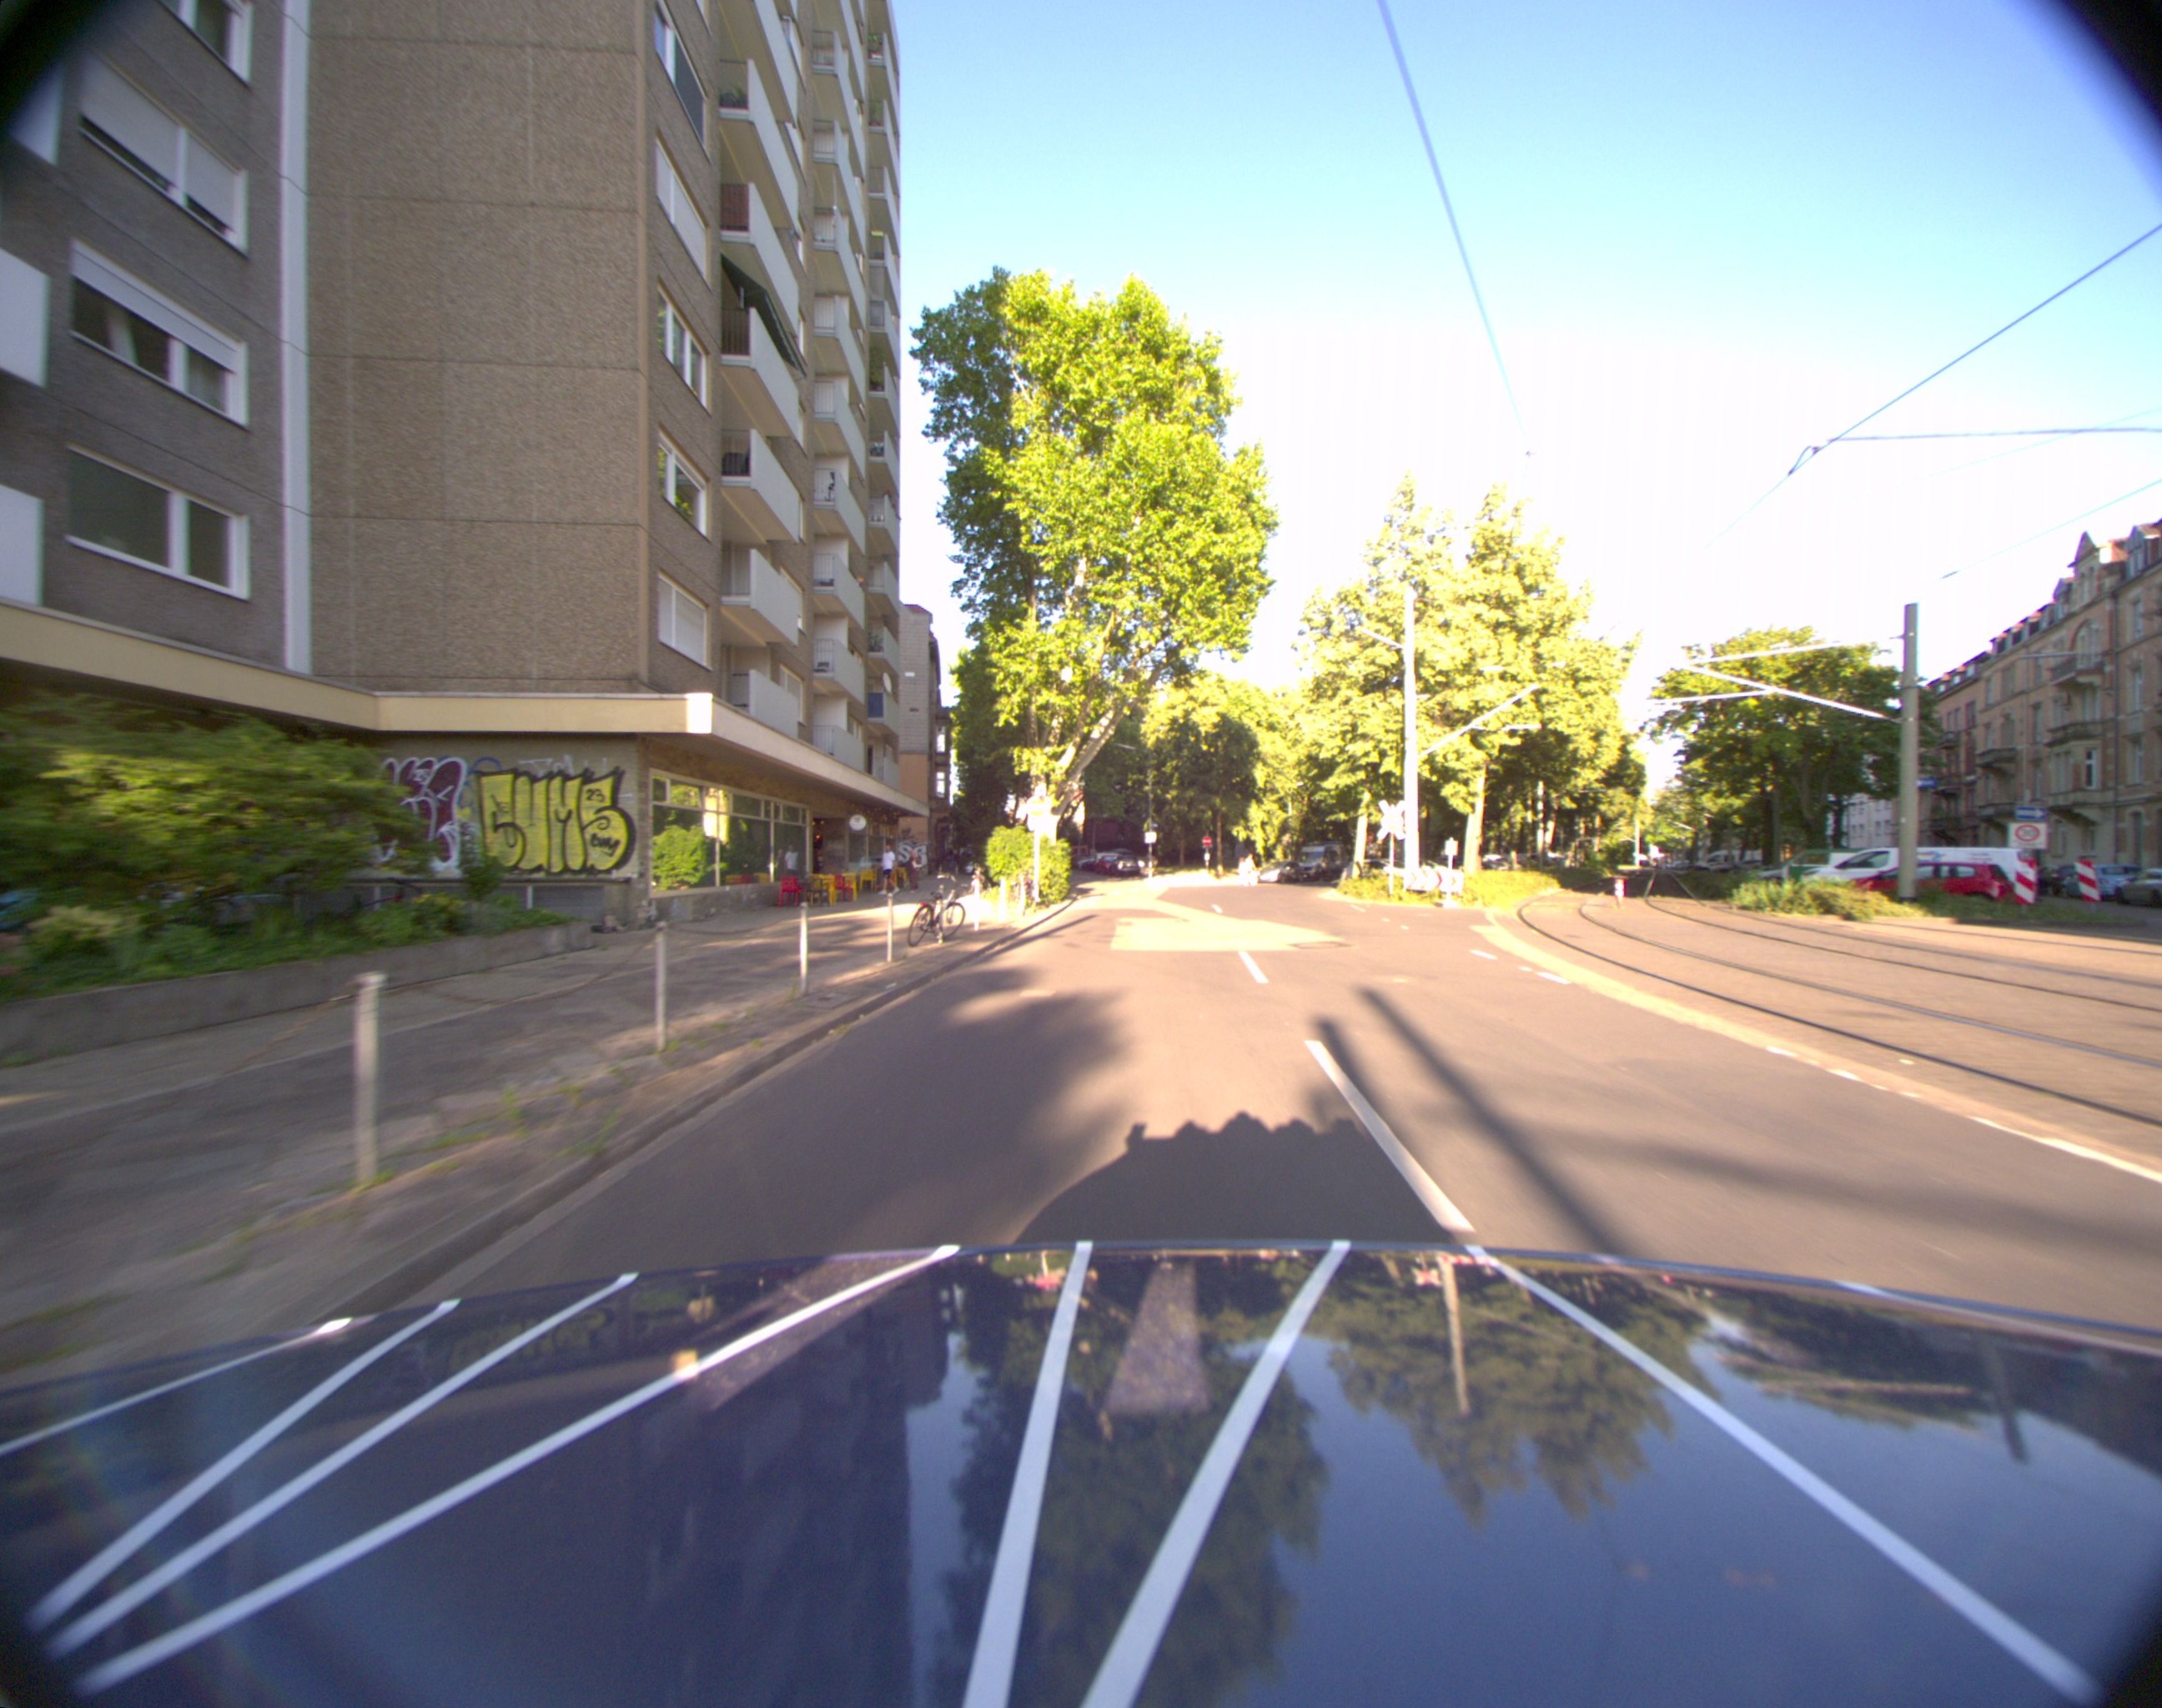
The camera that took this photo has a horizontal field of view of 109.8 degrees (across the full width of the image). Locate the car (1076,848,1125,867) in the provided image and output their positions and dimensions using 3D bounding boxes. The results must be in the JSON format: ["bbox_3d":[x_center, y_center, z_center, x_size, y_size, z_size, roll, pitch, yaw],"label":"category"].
[{"bbox_3d":[1.855,0.308,72.209,4.400,1.484,1.785,-3,1,-6],"label":"car"}]

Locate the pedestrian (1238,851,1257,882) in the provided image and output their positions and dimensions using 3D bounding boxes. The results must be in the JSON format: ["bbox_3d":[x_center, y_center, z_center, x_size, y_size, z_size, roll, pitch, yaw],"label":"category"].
[{"bbox_3d":[9.646,0.708,44.147,0.812,1.771,0.718,1,1,43],"label":"pedestrian"}]

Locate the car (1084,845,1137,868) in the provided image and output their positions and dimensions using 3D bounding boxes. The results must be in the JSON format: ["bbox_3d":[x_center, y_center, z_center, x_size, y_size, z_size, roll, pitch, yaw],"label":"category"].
[{"bbox_3d":[2.609,0.227,67.080,4.400,1.766,1.785,-3,1,-6],"label":"car"}]

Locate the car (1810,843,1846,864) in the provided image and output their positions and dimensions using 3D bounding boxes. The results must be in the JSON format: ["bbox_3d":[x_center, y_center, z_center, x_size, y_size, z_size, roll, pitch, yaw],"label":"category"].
[{"bbox_3d":[75.911,-0.061,77.259,1.994,2.002,4.008,0,1,36],"label":"car"}]

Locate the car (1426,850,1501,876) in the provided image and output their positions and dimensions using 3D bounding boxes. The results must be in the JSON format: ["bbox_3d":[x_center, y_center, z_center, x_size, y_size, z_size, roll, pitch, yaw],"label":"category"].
[{"bbox_3d":[26.584,0.647,52.938,1.943,1.616,4.351,-2,-2,-23],"label":"car"}]

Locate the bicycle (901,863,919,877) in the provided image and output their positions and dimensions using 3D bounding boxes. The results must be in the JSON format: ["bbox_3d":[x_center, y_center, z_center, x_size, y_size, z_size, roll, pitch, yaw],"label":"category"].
[{"bbox_3d":[-9.104,0.830,40.471,0.895,0.737,0.272,0,1,-12],"label":"bicycle"}]

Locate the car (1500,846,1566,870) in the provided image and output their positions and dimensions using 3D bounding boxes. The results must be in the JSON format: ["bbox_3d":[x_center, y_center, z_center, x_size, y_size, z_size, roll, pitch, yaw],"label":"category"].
[{"bbox_3d":[45.451,0.431,76.509,2.083,2.124,5.506,-2,-2,-22],"label":"car"}]

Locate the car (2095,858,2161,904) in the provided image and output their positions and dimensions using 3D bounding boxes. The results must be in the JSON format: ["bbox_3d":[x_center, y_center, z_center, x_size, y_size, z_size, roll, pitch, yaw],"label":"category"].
[{"bbox_3d":[38.136,0.910,26.593,1.851,1.532,4.782,0,0,36],"label":"car"}]

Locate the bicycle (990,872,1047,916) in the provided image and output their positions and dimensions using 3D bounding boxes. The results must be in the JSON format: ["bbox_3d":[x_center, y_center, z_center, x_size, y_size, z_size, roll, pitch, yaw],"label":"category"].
[{"bbox_3d":[-1.581,1.009,19.631,0.639,1.016,2.091,1,0,21],"label":"bicycle"}]

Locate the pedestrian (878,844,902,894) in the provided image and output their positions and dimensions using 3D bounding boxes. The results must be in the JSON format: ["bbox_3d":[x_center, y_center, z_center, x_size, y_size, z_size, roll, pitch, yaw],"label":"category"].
[{"bbox_3d":[-6.885,0.530,27.383,0.686,1.763,0.636,0,1,0],"label":"pedestrian"}]

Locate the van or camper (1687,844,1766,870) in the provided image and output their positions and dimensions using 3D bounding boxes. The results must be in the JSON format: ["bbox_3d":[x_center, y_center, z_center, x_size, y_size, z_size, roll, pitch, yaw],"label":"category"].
[{"bbox_3d":[65.174,0.271,76.824,2.003,2.454,5.663,1,1,-28],"label":"van or camper"}]

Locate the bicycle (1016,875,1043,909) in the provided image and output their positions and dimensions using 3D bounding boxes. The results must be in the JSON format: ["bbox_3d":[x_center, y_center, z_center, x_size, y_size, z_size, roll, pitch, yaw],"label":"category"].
[{"bbox_3d":[-1.460,1.064,21.720,0.543,0.899,1.736,0,0,4],"label":"bicycle"}]

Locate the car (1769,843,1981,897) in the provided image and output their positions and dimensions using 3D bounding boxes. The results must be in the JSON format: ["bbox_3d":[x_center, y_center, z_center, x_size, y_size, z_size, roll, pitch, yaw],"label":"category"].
[{"bbox_3d":[28.323,0.522,27.349,2.088,1.754,4.826,0,0,-24],"label":"car"}]

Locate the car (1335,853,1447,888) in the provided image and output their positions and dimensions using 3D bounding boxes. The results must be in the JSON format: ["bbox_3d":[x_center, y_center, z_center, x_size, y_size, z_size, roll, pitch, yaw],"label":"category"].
[{"bbox_3d":[13.544,0.718,33.408,1.778,1.421,4.283,-1,0,-35],"label":"car"}]

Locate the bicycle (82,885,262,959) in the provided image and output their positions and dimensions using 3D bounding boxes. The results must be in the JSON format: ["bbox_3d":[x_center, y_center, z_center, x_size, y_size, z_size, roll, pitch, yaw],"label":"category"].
[{"bbox_3d":[-12.863,0.932,10.836,0.644,0.894,1.651,0,0,-4],"label":"bicycle"}]

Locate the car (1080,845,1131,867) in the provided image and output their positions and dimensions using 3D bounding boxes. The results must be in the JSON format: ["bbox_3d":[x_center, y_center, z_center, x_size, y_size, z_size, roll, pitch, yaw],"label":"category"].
[{"bbox_3d":[2.249,0.203,69.899,4.400,1.766,1.785,-3,1,-6],"label":"car"}]

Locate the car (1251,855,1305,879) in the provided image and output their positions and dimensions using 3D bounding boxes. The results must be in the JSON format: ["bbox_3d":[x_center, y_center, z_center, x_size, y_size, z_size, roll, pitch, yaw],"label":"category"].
[{"bbox_3d":[12.706,0.841,48.911,1.681,1.437,3.880,-3,-2,42],"label":"car"}]

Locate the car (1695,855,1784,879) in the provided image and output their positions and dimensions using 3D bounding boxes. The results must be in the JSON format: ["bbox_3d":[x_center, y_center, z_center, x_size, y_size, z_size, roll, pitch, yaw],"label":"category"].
[{"bbox_3d":[40.129,0.763,46.381,1.710,1.373,3.730,0,0,-26],"label":"car"}]

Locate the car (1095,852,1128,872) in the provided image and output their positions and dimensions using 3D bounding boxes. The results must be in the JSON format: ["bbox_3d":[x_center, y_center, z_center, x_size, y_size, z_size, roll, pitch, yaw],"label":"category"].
[{"bbox_3d":[2.382,0.594,59.831,1.744,1.441,4.641,-2,1,-8],"label":"car"}]

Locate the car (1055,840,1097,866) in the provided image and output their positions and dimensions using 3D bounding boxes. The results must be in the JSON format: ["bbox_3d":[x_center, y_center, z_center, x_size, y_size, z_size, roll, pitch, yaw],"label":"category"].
[{"bbox_3d":[-0.622,-0.170,87.232,4.642,2.950,1.605,0,1,-12],"label":"car"}]

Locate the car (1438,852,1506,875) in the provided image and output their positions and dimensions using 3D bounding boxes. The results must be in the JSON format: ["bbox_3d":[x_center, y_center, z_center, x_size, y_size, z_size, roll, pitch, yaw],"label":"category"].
[{"bbox_3d":[28.348,0.711,55.238,1.773,1.450,4.154,-2,-2,-23],"label":"car"}]

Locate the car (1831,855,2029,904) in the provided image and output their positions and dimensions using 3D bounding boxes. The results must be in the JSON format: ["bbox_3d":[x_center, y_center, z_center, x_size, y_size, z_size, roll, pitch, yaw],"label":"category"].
[{"bbox_3d":[25.110,0.702,22.601,1.719,1.321,3.625,0,0,-29],"label":"car"}]

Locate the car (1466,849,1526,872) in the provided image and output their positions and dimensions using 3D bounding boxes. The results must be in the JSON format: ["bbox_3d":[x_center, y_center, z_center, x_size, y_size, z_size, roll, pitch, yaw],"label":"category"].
[{"bbox_3d":[33.989,0.565,62.363,1.885,1.770,4.157,-2,-2,-14],"label":"car"}]

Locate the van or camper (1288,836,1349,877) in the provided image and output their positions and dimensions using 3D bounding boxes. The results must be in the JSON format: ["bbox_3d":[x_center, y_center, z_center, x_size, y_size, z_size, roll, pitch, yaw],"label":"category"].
[{"bbox_3d":[16.866,0.183,53.766,2.085,2.746,5.858,0,0,39],"label":"van or camper"}]

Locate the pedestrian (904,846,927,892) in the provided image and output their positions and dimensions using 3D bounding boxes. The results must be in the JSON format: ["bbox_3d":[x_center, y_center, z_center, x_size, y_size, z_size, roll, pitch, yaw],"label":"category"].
[{"bbox_3d":[-6.156,0.564,28.258,0.686,1.682,0.644,0,1,0],"label":"pedestrian"}]

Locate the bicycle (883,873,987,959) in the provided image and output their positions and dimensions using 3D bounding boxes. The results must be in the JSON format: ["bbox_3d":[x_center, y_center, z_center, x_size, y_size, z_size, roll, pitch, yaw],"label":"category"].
[{"bbox_3d":[-2.312,0.946,12.325,0.639,1.219,2.091,1,0,21],"label":"bicycle"}]

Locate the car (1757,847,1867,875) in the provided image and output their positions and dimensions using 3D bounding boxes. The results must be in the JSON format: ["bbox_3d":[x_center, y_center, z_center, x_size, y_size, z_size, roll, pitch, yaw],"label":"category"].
[{"bbox_3d":[37.910,0.337,39.499,1.730,1.373,3.730,0,0,-27],"label":"car"}]

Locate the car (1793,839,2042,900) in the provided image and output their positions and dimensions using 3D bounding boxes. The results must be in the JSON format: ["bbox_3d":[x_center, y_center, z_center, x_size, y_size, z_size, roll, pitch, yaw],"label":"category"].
[{"bbox_3d":[26.656,0.444,24.461,2.088,1.754,5.047,0,0,-30],"label":"car"}]

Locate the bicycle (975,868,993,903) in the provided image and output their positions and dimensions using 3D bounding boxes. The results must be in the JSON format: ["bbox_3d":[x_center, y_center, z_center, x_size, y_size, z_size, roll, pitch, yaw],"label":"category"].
[{"bbox_3d":[-2.988,0.951,23.547,0.349,1.032,1.053,1,0,4],"label":"bicycle"}]

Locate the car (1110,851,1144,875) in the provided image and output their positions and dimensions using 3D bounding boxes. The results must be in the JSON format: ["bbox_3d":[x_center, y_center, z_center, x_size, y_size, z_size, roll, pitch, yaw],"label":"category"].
[{"bbox_3d":[3.264,0.585,54.457,1.742,1.543,4.274,-3,1,-5],"label":"car"}]

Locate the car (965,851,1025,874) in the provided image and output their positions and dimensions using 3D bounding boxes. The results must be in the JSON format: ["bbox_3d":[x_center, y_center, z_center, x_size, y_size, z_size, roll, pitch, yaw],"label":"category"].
[{"bbox_3d":[-6.120,0.584,53.953,4.002,1.464,1.732,2,0,-14],"label":"car"}]

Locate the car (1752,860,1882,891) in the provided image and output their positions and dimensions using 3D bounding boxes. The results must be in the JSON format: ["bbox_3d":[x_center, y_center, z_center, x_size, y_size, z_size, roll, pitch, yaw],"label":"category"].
[{"bbox_3d":[35.824,0.984,37.135,1.596,1.373,4.281,0,0,-21],"label":"car"}]

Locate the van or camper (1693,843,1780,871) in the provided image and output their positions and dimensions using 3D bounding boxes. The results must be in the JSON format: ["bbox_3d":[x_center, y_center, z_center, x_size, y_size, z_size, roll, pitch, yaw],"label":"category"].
[{"bbox_3d":[60.017,0.236,69.731,2.310,2.357,5.539,1,1,-25],"label":"van or camper"}]

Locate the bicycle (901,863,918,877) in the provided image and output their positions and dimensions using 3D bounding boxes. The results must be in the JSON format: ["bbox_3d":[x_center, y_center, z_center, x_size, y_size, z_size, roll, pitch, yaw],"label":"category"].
[{"bbox_3d":[-9.055,0.834,40.150,0.895,0.737,0.272,0,1,-12],"label":"bicycle"}]

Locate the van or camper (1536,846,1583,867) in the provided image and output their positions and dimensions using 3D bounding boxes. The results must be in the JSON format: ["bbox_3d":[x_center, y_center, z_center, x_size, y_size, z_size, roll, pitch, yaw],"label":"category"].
[{"bbox_3d":[63.684,0.354,101.128,2.047,2.455,4.878,-2,-1,-25],"label":"van or camper"}]

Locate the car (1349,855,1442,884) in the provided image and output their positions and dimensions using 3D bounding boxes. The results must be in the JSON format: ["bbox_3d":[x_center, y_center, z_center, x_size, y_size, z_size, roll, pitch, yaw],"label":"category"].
[{"bbox_3d":[15.986,0.815,38.792,1.778,1.356,3.976,-1,-2,-36],"label":"car"}]

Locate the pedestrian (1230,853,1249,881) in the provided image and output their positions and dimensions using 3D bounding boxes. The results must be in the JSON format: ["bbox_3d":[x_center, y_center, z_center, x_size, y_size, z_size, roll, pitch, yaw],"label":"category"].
[{"bbox_3d":[9.533,0.775,45.582,0.812,1.598,0.718,1,-1,43],"label":"pedestrian"}]

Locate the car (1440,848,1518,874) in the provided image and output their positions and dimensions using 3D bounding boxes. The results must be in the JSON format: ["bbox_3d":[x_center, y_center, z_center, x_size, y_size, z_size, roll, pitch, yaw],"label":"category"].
[{"bbox_3d":[30.043,0.582,57.539,1.990,1.770,4.994,-2,-2,-24],"label":"car"}]

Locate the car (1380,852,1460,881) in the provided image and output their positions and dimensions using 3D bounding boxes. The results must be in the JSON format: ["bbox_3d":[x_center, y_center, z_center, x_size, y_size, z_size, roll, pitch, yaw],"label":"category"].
[{"bbox_3d":[19.248,0.715,43.286,1.834,1.484,3.878,-2,-2,-25],"label":"car"}]

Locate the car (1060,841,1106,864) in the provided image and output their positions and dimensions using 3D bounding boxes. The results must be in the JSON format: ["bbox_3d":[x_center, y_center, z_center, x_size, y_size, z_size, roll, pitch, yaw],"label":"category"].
[{"bbox_3d":[0.177,-0.180,79.527,4.642,2.399,1.605,0,1,-12],"label":"car"}]

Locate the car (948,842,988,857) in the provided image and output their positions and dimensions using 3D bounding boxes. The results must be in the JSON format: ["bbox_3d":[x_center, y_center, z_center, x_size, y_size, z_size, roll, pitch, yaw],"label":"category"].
[{"bbox_3d":[-13.344,-0.552,89.360,4.487,1.621,1.732,2,0,-14],"label":"car"}]

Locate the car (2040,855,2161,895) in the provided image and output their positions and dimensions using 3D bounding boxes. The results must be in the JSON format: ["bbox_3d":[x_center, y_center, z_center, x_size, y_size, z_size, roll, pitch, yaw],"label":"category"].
[{"bbox_3d":[42.069,0.819,31.474,1.851,1.510,4.068,0,0,36],"label":"car"}]

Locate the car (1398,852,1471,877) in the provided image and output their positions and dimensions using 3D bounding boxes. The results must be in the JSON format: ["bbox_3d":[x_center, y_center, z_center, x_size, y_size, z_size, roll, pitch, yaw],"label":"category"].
[{"bbox_3d":[22.416,0.684,48.378,1.834,1.430,3.865,-2,-2,-26],"label":"car"}]

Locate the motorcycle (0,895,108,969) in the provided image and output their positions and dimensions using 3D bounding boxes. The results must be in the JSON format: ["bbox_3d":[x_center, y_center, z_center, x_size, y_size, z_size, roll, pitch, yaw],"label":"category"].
[{"bbox_3d":[-12.501,0.910,8.931,0.433,0.790,1.367,0,0,-4],"label":"motorcycle"}]

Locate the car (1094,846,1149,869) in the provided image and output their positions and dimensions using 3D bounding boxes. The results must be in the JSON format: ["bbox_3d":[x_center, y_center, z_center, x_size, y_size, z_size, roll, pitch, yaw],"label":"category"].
[{"bbox_3d":[3.428,0.266,64.508,4.400,1.697,1.733,-3,1,-6],"label":"car"}]

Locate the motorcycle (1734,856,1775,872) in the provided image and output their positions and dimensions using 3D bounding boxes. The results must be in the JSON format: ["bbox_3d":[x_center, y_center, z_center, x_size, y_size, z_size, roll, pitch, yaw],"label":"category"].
[{"bbox_3d":[42.281,0.605,47.703,1.022,0.949,1.723,0,0,-32],"label":"motorcycle"}]

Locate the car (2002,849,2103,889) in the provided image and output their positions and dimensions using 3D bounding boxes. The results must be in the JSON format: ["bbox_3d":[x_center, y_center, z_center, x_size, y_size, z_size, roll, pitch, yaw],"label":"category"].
[{"bbox_3d":[44.636,0.644,35.012,1.794,1.765,4.008,0,0,36],"label":"car"}]
